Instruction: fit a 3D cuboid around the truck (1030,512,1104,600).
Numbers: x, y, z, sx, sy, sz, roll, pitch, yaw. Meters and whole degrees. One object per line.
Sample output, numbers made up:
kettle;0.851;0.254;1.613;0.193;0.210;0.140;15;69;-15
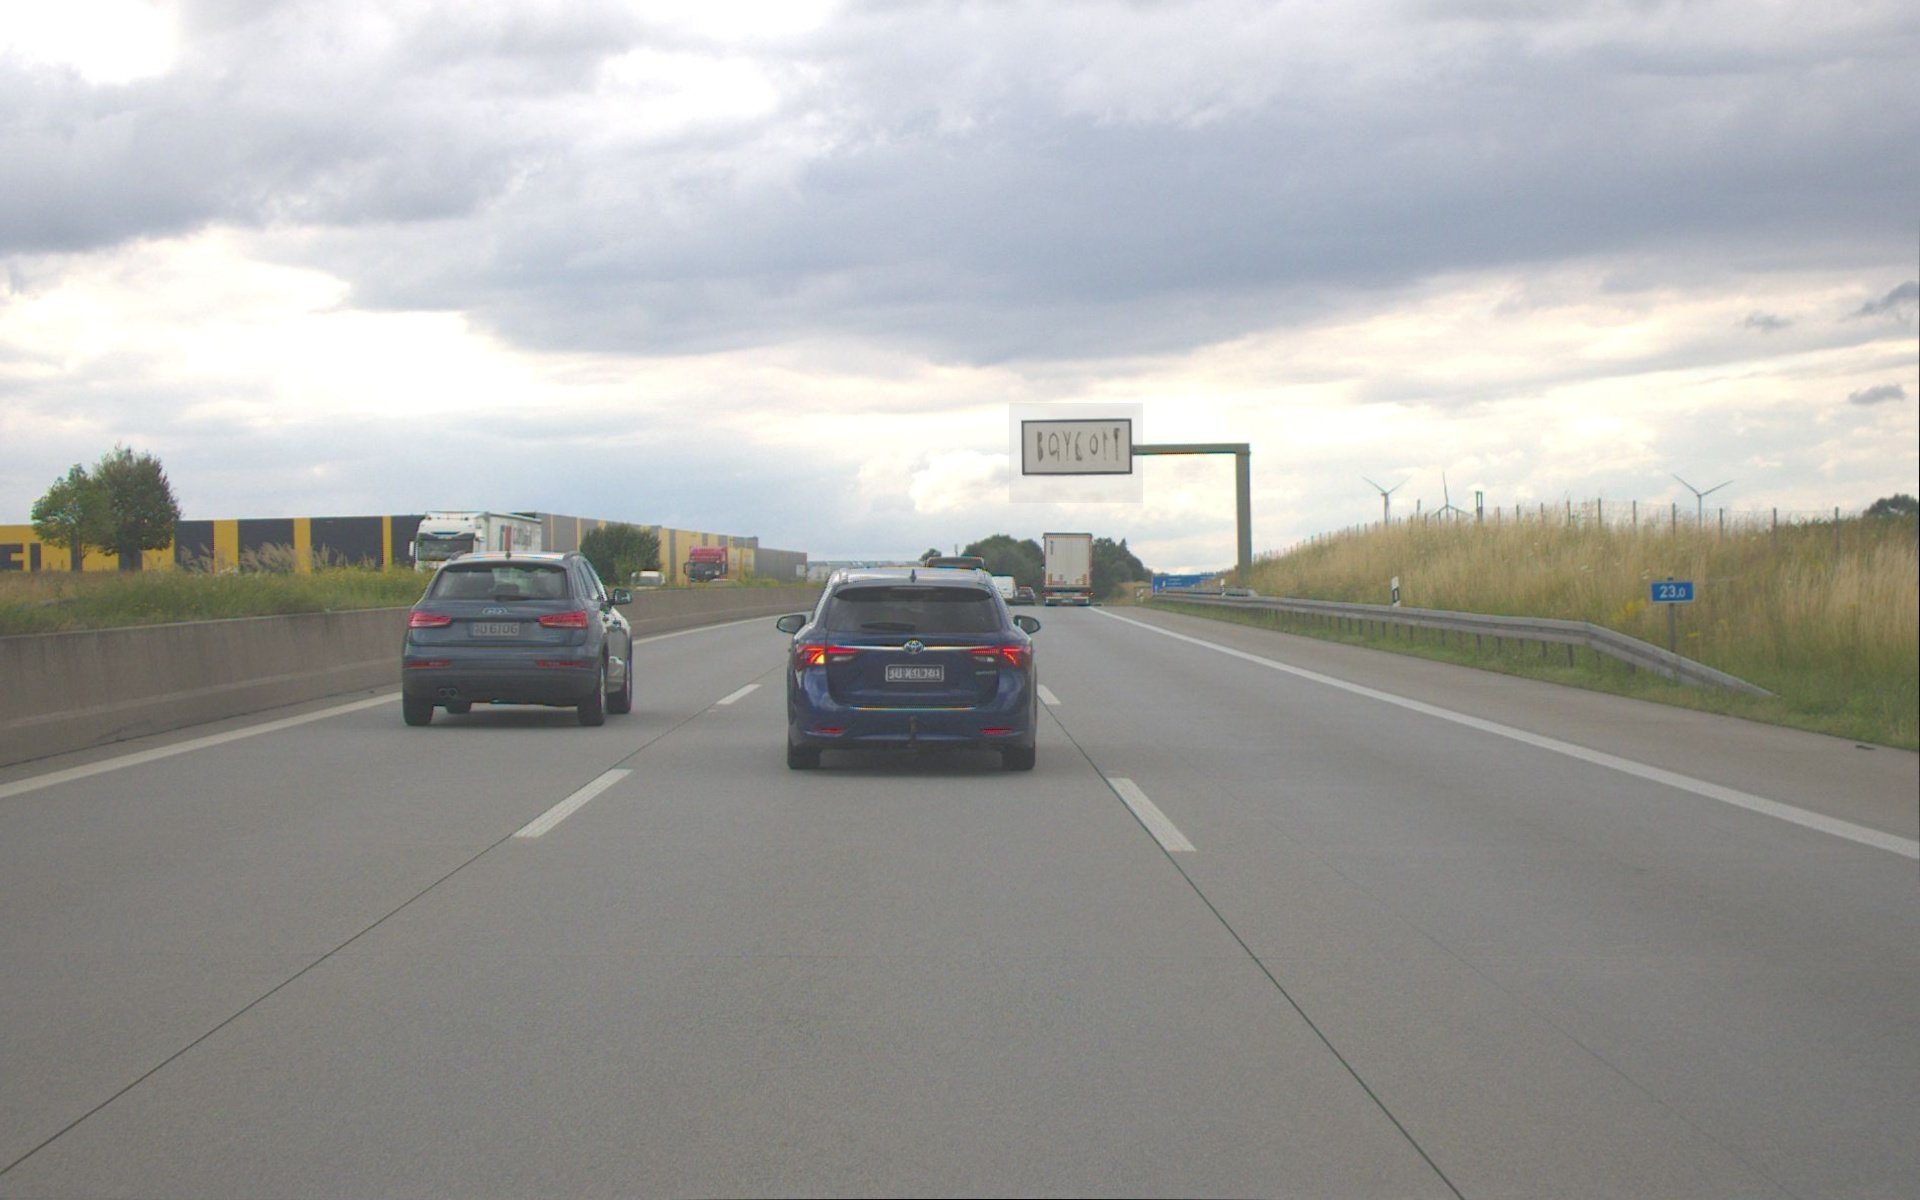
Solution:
truck;6.047;-2.407;192.866;3.950;4.740;12.075;1;0;2

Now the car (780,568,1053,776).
car;-0.396;0.475;25.409;1.774;1.408;4.001;0;1;-4

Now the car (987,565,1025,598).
car;2.853;-1.151;214.933;1.993;2.007;4.001;1;0;-4

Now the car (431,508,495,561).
car;-19.751;-2.608;136.690;1.993;2.007;4.000;1;0;-1

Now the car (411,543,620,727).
car;-4.146;0.266;32.660;1.792;1.590;5.158;1;1;-6

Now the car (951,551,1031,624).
car;0.852;-0.349;97.081;1.993;2.007;4.000;1;0;-3
